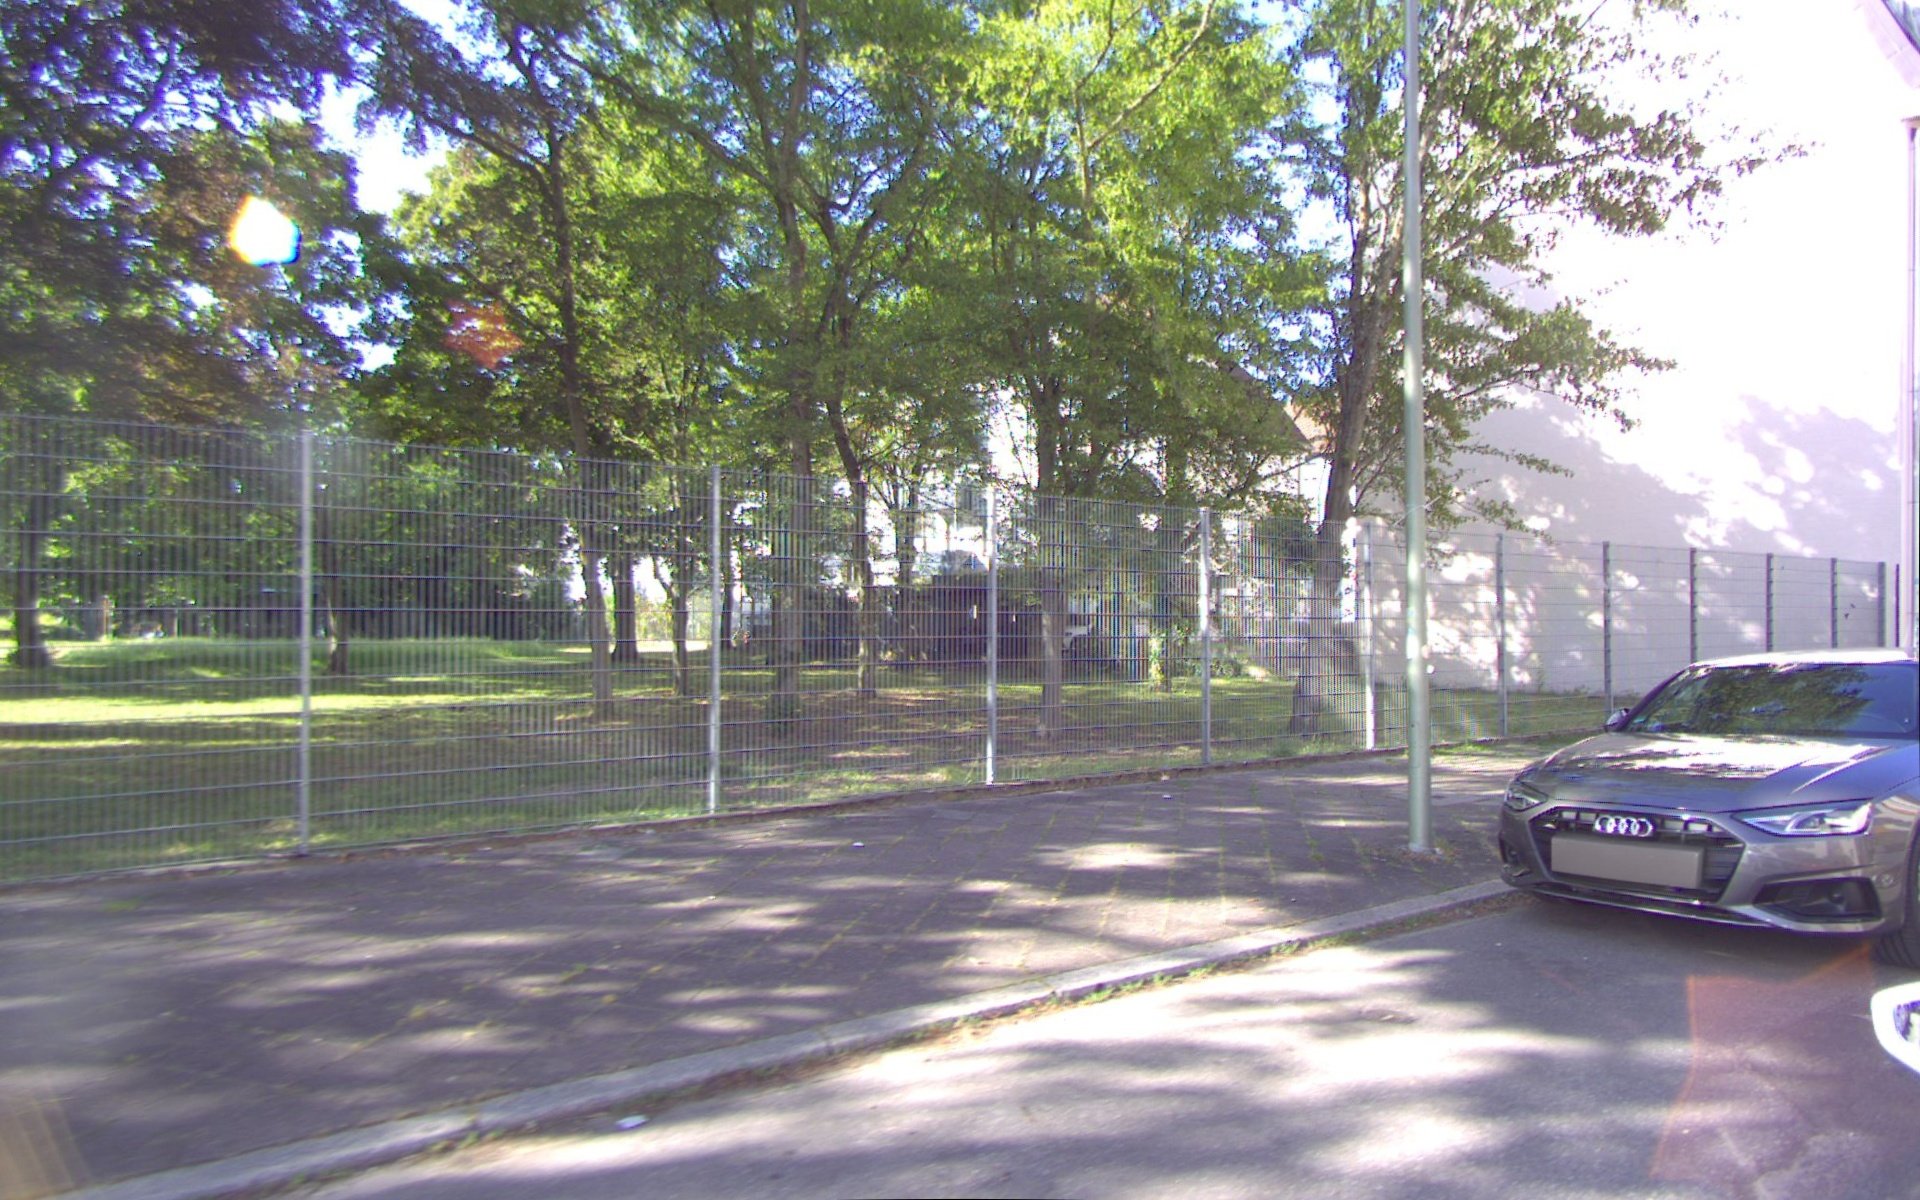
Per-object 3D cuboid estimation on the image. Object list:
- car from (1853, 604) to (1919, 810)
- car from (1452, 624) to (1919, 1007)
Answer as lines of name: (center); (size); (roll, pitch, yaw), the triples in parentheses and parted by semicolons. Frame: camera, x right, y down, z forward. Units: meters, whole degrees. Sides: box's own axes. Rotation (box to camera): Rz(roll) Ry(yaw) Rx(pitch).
car: (10.204, 0.920, 9.031); (4.874, 1.686, 1.870); (2, -2, -31)
car: (5.013, 0.914, 5.884); (4.453, 1.490, 1.784); (2, -2, -32)
